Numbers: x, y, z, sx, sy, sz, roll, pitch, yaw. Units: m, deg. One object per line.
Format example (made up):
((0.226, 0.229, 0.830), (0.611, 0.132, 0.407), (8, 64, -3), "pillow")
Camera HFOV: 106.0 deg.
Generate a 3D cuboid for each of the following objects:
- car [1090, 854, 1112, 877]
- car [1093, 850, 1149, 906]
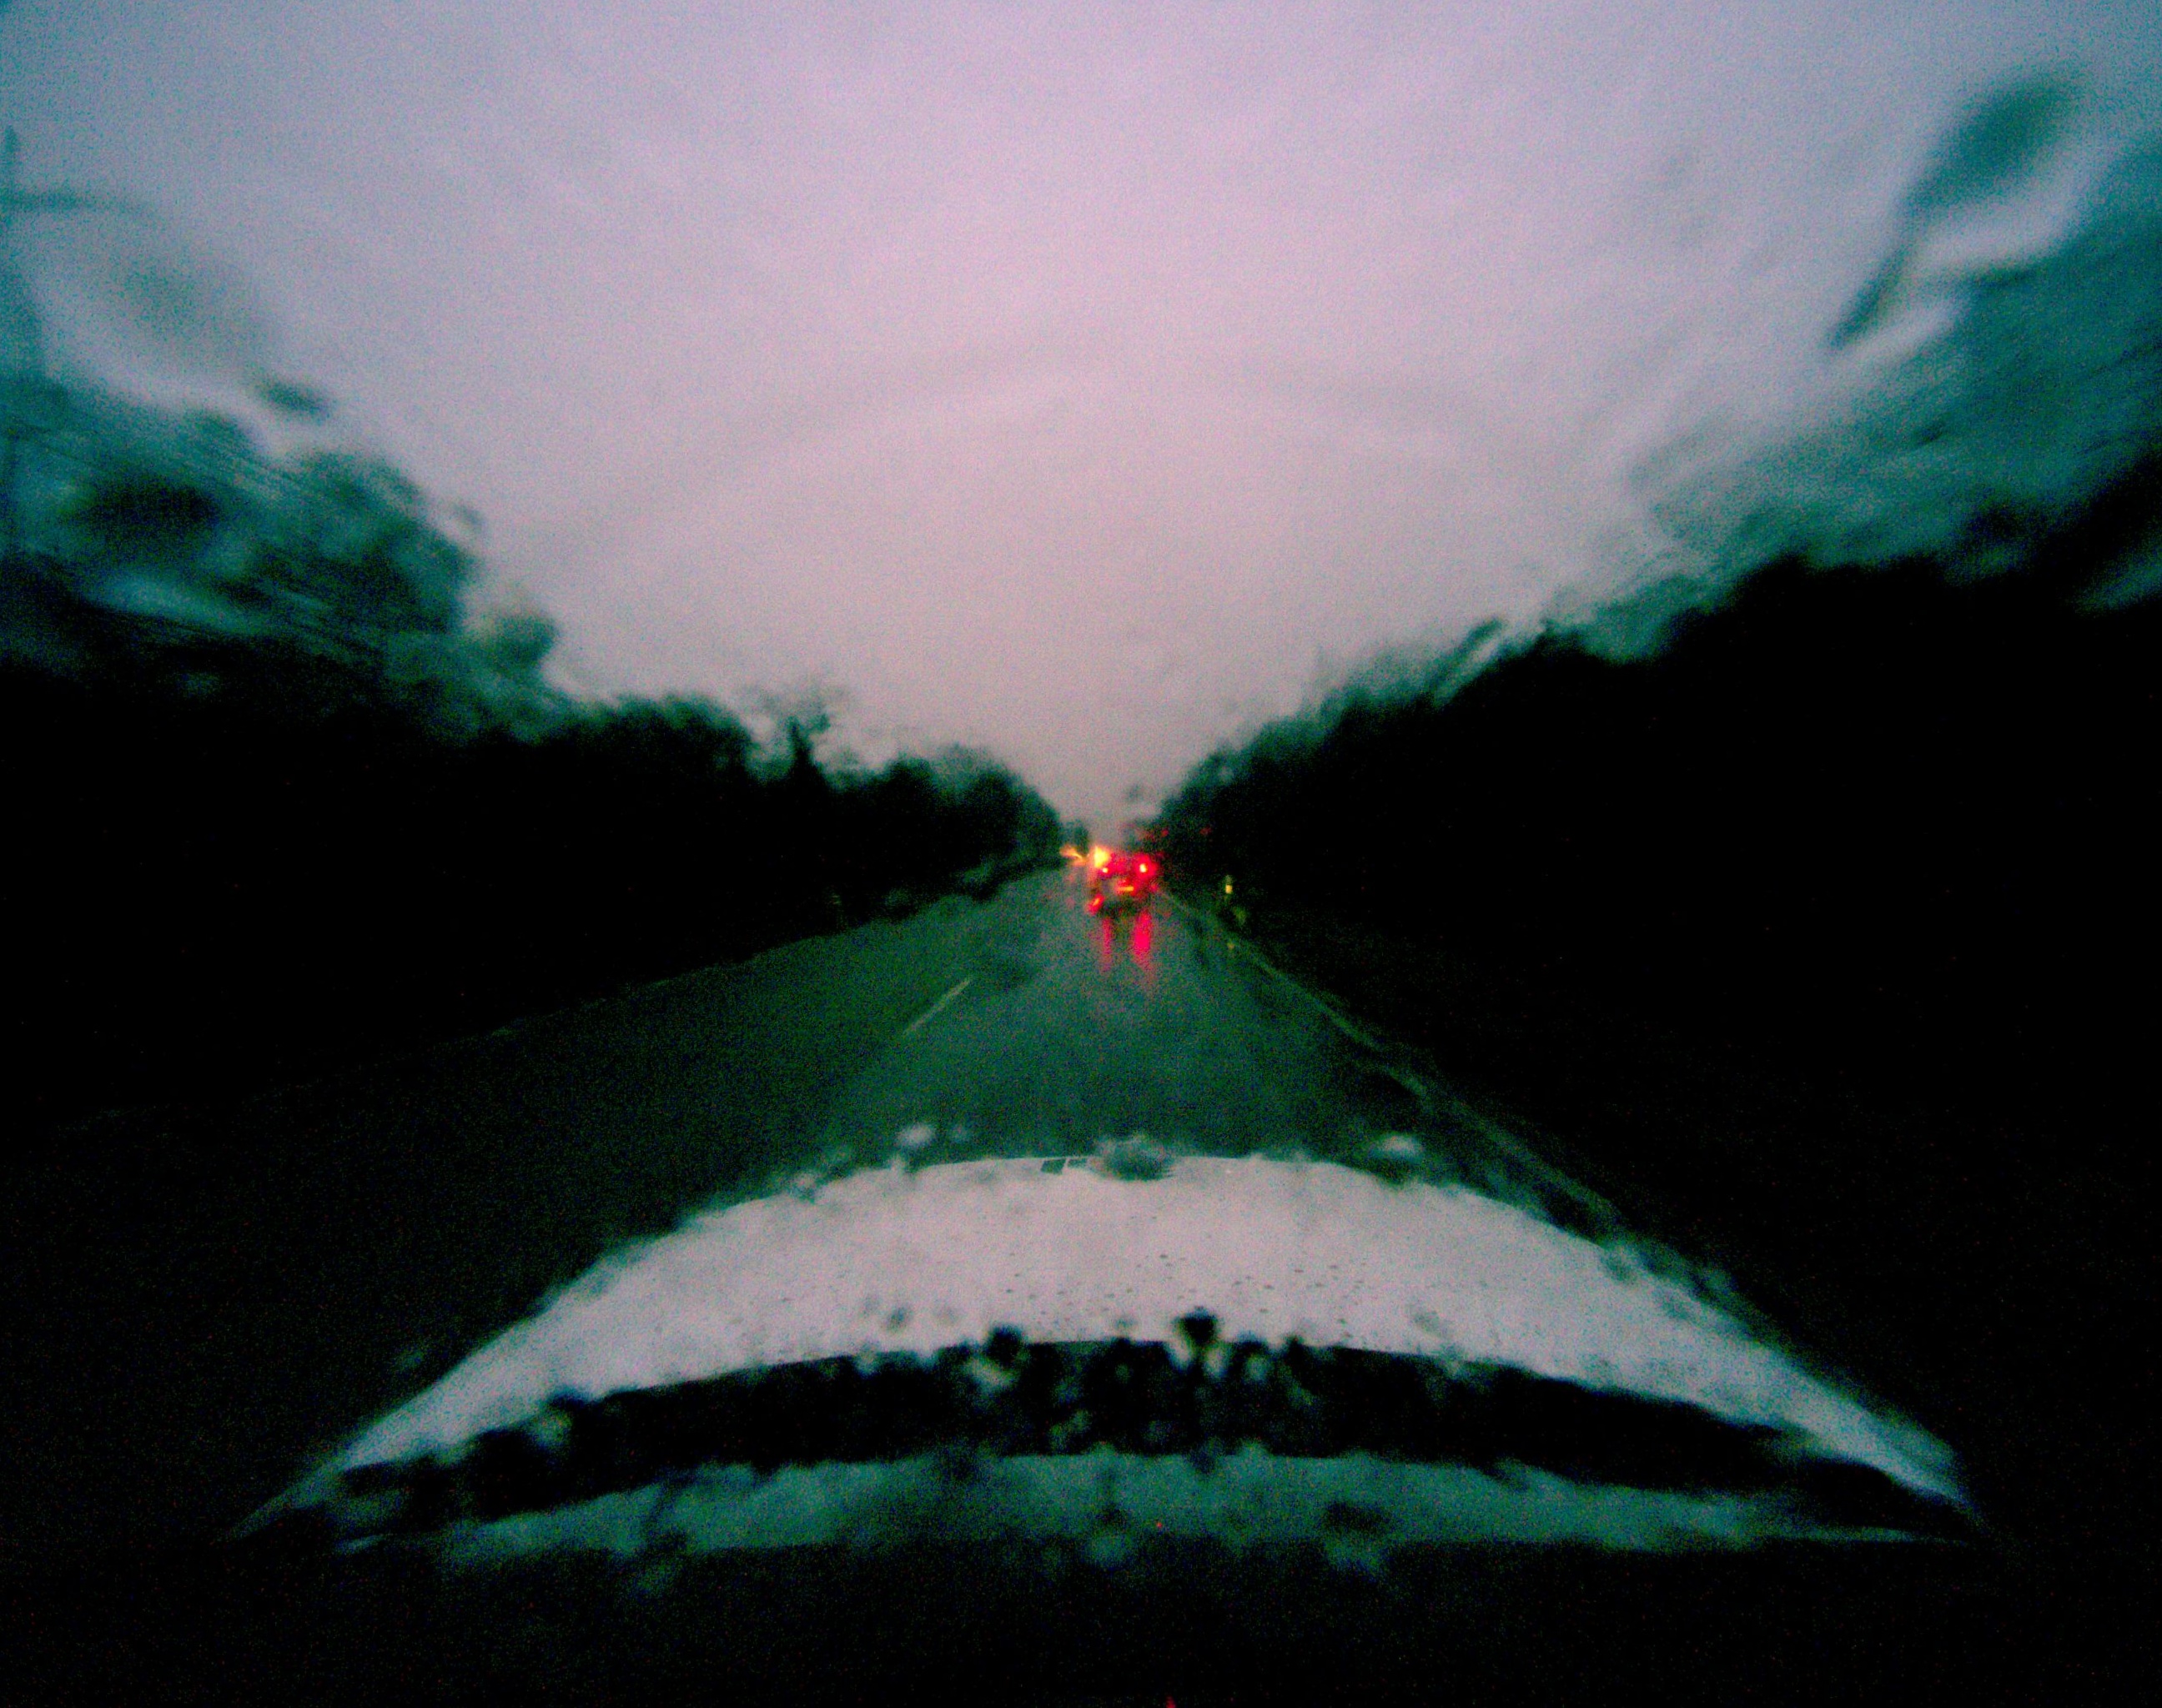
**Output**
((1.643, 0.938, 66.885), (1.726, 1.779, 4.001), (-1, 0, 2), "car")
((1.269, 0.726, 26.262), (1.642, 1.672, 3.515), (-1, 0, 2), "car")
